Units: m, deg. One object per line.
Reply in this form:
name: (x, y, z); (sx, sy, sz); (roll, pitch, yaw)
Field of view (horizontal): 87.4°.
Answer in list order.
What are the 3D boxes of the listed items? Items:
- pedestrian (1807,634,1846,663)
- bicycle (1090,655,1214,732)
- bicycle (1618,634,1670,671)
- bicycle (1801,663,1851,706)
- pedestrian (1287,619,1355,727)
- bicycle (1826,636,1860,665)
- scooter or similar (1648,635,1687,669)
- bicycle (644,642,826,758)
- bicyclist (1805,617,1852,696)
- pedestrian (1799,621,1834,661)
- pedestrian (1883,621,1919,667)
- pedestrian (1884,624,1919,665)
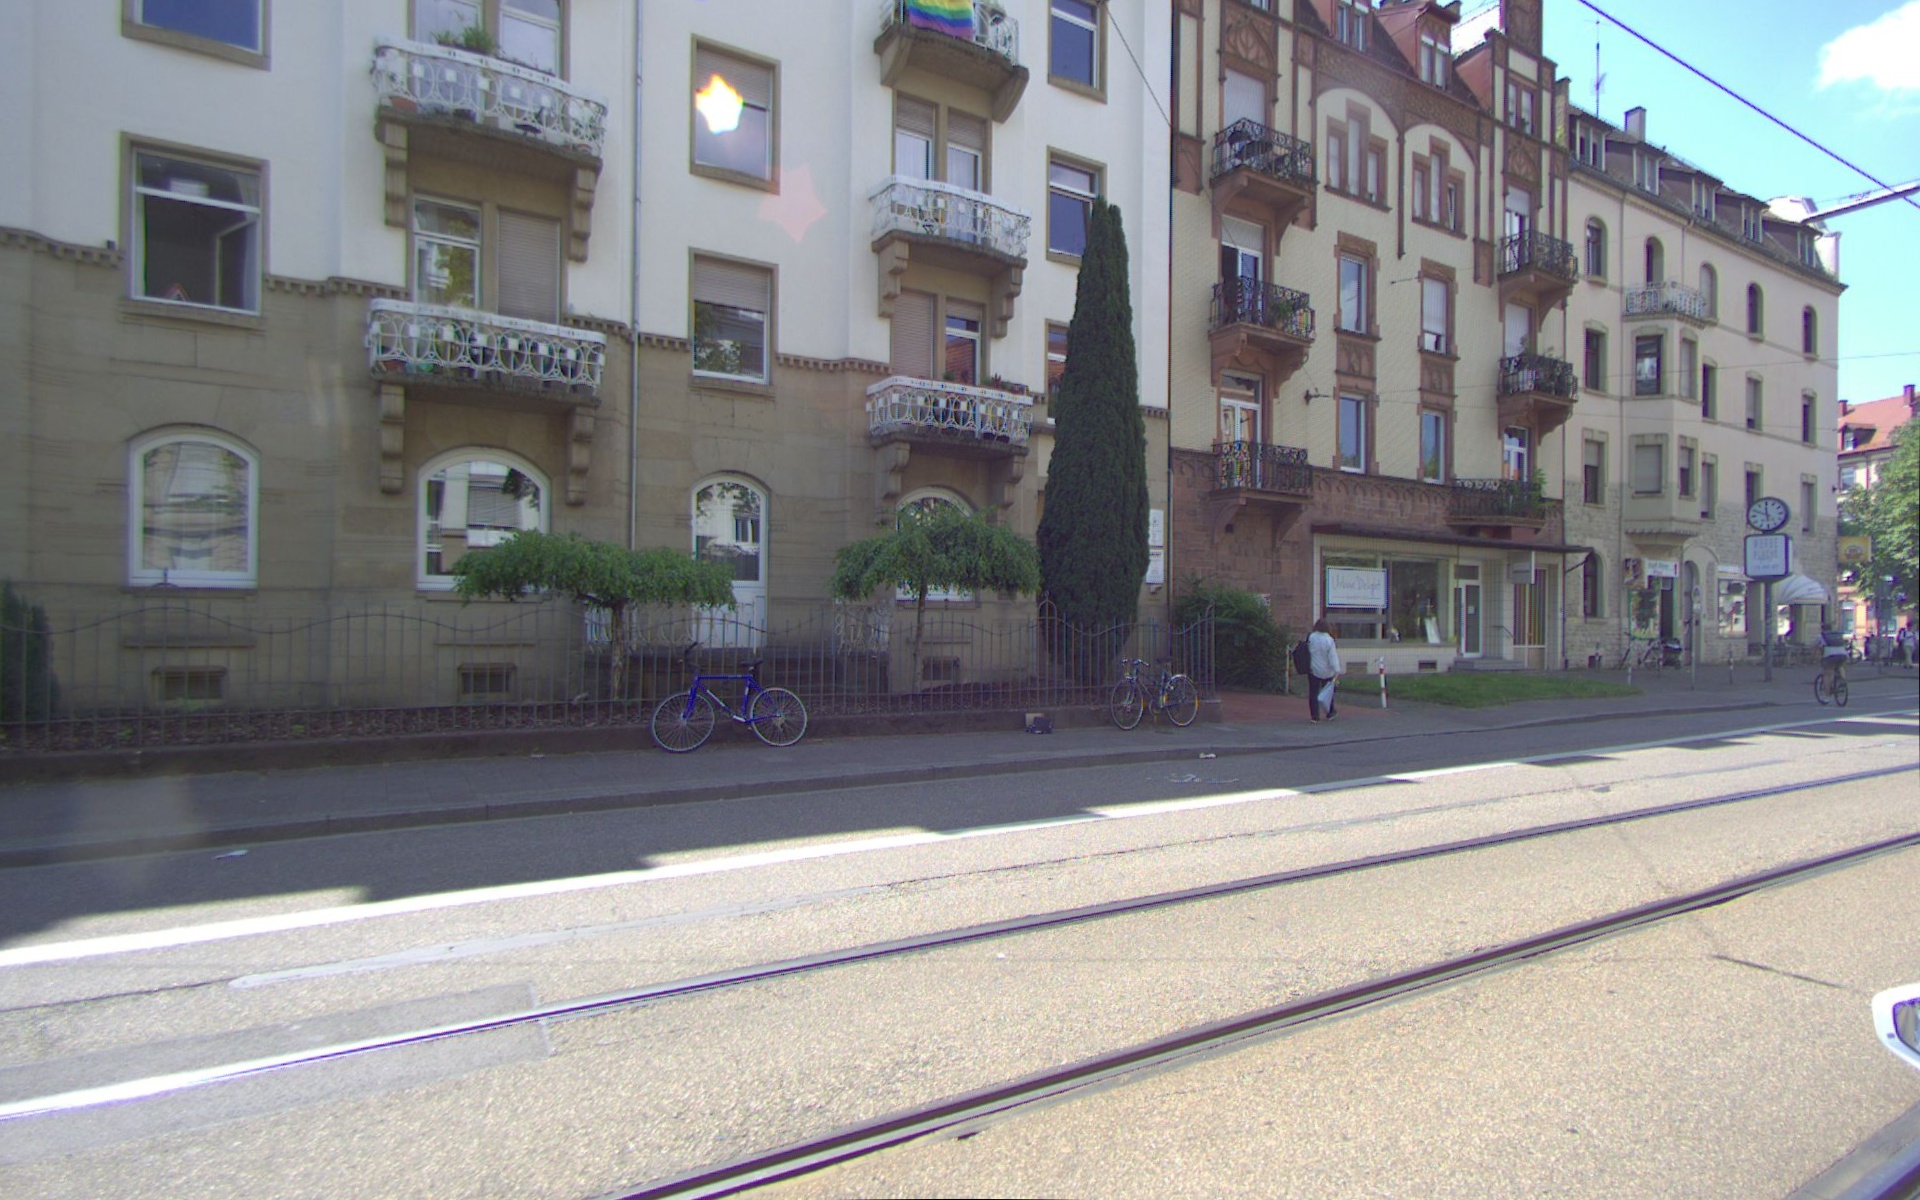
pedestrian: (33.938, 1.897, 39.350); (0.872, 1.092, 0.911); (1, -1, -30)
bicycle: (2.645, 1.260, 13.766); (1.820, 0.973, 0.408); (2, 2, -31)
bicycle: (21.501, 1.655, 31.563); (1.438, 1.080, 0.370); (2, 0, -8)
bicycle: (19.253, 1.854, 22.357); (0.743, 0.828, 1.813); (0, -1, 37)
pedestrian: (5.483, 1.082, 15.310); (0.885, 1.563, 0.985); (0, -1, 15)
bicycle: (36.630, 2.108, 41.693); (0.534, 1.143, 1.683); (1, -3, 22)
scooter or similar: (23.047, 1.682, 32.750); (0.682, 1.058, 1.210); (2, 0, 19)
bicycle: (-2.356, 1.014, 10.578); (1.751, 1.079, 0.604); (1, 3, -32)
bicyclist: (19.262, 1.227, 22.292); (0.747, 1.685, 0.827); (2, 0, 41)
pedestrian: (34.982, 1.663, 41.038); (0.801, 1.616, 0.911); (1, -1, -34)
pedestrian: (36.757, 1.699, 39.151); (0.760, 1.756, 0.863); (1, 0, 14)
pedestrian: (38.756, 1.834, 41.327); (1.015, 1.657, 0.856); (1, -1, -32)
